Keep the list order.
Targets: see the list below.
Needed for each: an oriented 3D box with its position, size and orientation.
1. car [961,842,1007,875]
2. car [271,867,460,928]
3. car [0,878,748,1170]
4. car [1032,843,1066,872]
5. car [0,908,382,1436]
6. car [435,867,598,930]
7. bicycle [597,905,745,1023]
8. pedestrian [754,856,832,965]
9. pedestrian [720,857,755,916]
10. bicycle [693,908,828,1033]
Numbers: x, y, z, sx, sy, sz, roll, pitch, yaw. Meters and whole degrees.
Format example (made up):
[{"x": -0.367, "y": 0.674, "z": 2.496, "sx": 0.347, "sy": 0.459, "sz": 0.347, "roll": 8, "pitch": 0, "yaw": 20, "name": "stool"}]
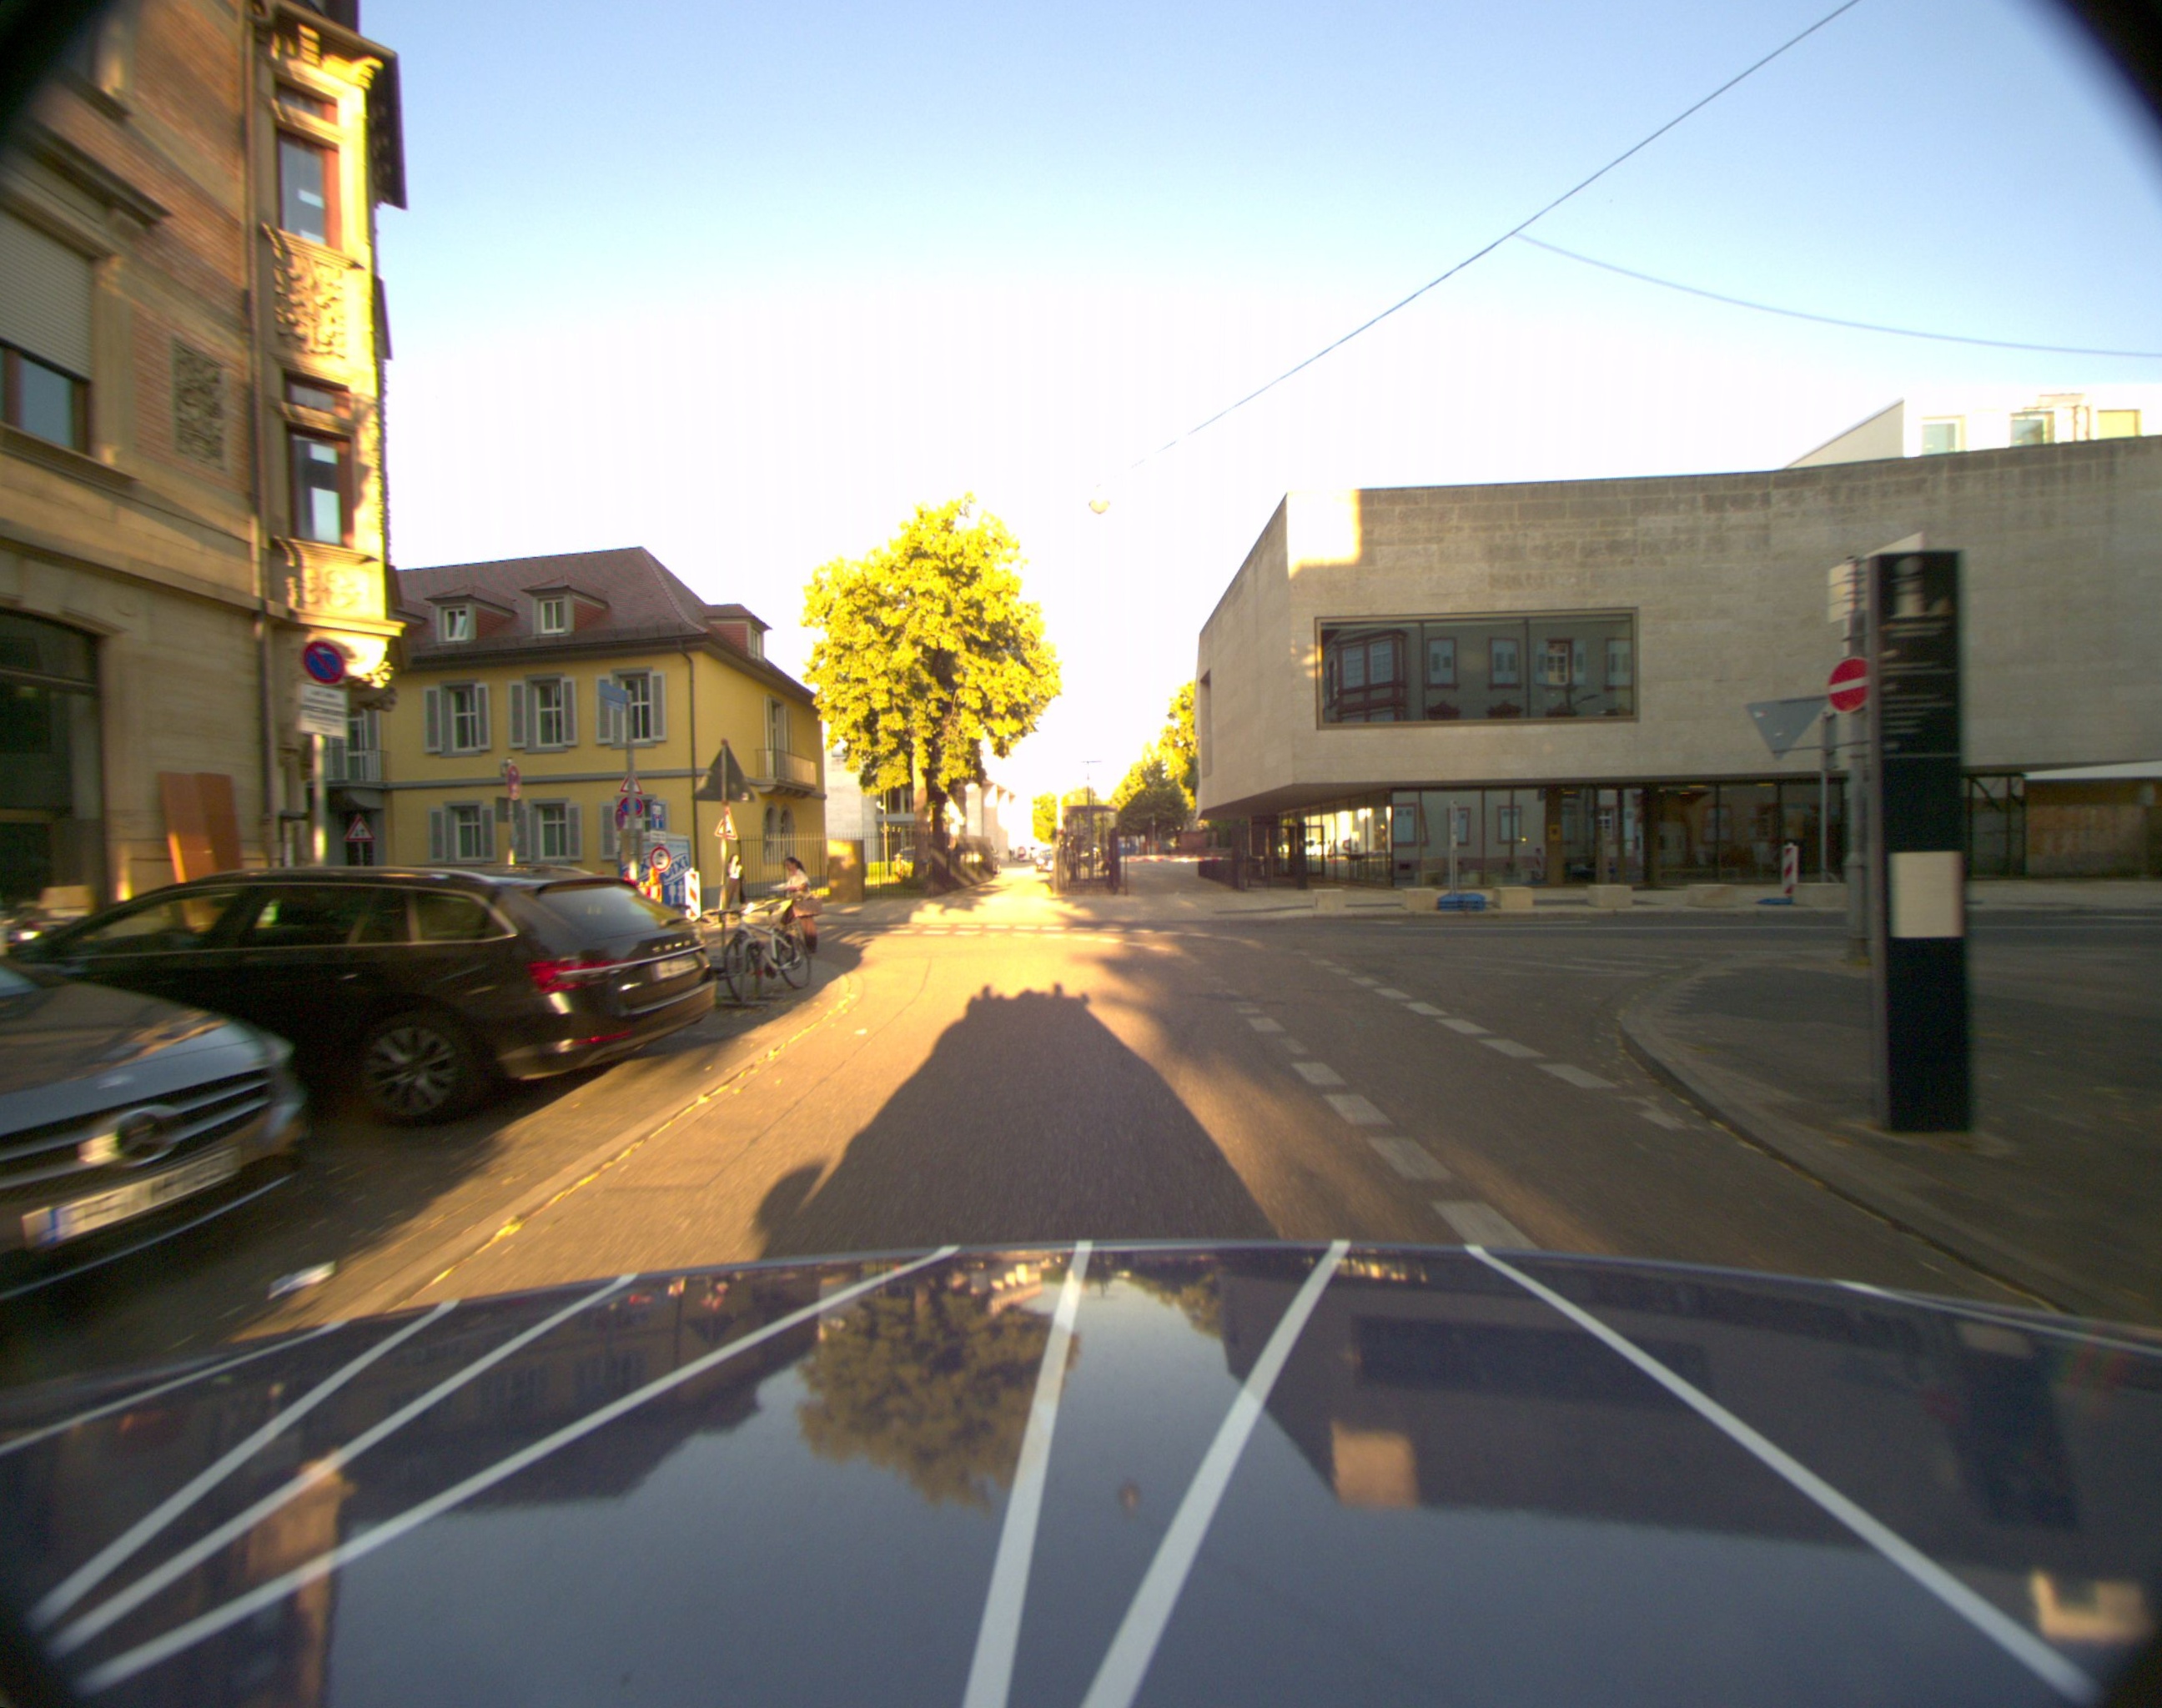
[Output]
[{"x": -5.502, "y": 0.203, "z": 43.560, "sx": 1.707, "sy": 1.727, "sz": 4.065, "roll": 1, "pitch": 2, "yaw": 6, "name": "car"}, {"x": -18.745, "y": 1.112, "z": 19.953, "sx": 3.972, "sy": 1.511, "sz": 1.547, "roll": -1, "pitch": 0, "yaw": 10, "name": "car"}, {"x": -4.934, "y": 0.961, "z": 5.088, "sx": 4.538, "sy": 1.502, "sz": 1.911, "roll": 0, "pitch": 1, "yaw": 0, "name": "car"}, {"x": -1.867, "y": 0.164, "z": 45.203, "sx": 1.709, "sy": 1.575, "sz": 3.678, "roll": -2, "pitch": 2, "yaw": 1, "name": "car"}, {"x": -5.484, "y": 1.001, "z": 2.565, "sx": 4.537, "sy": 1.471, "sz": 1.867, "roll": 0, "pitch": 1, "yaw": 1, "name": "car"}, {"x": -14.317, "y": 1.101, "z": 19.339, "sx": 3.216, "sy": 1.511, "sz": 1.547, "roll": -1, "pitch": 0, "yaw": 10, "name": "car"}, {"x": -4.439, "y": 1.141, "z": 8.390, "sx": 0.639, "sy": 1.008, "sz": 1.832, "roll": -1, "pitch": 1, "yaw": -1, "name": "bicycle"}, {"x": -4.642, "y": 0.877, "z": 12.269, "sx": 0.962, "sy": 1.649, "sz": 0.638, "roll": -2, "pitch": 2, "yaw": -42, "name": "pedestrian"}, {"x": -9.324, "y": 0.876, "z": 20.621, "sx": 0.672, "sy": 1.586, "sz": 0.469, "roll": -1, "pitch": 1, "yaw": 13, "name": "pedestrian"}, {"x": -3.333, "y": 1.170, "z": 8.104, "sx": 0.571, "sy": 1.041, "sz": 1.832, "roll": -1, "pitch": 1, "yaw": 3, "name": "bicycle"}]
